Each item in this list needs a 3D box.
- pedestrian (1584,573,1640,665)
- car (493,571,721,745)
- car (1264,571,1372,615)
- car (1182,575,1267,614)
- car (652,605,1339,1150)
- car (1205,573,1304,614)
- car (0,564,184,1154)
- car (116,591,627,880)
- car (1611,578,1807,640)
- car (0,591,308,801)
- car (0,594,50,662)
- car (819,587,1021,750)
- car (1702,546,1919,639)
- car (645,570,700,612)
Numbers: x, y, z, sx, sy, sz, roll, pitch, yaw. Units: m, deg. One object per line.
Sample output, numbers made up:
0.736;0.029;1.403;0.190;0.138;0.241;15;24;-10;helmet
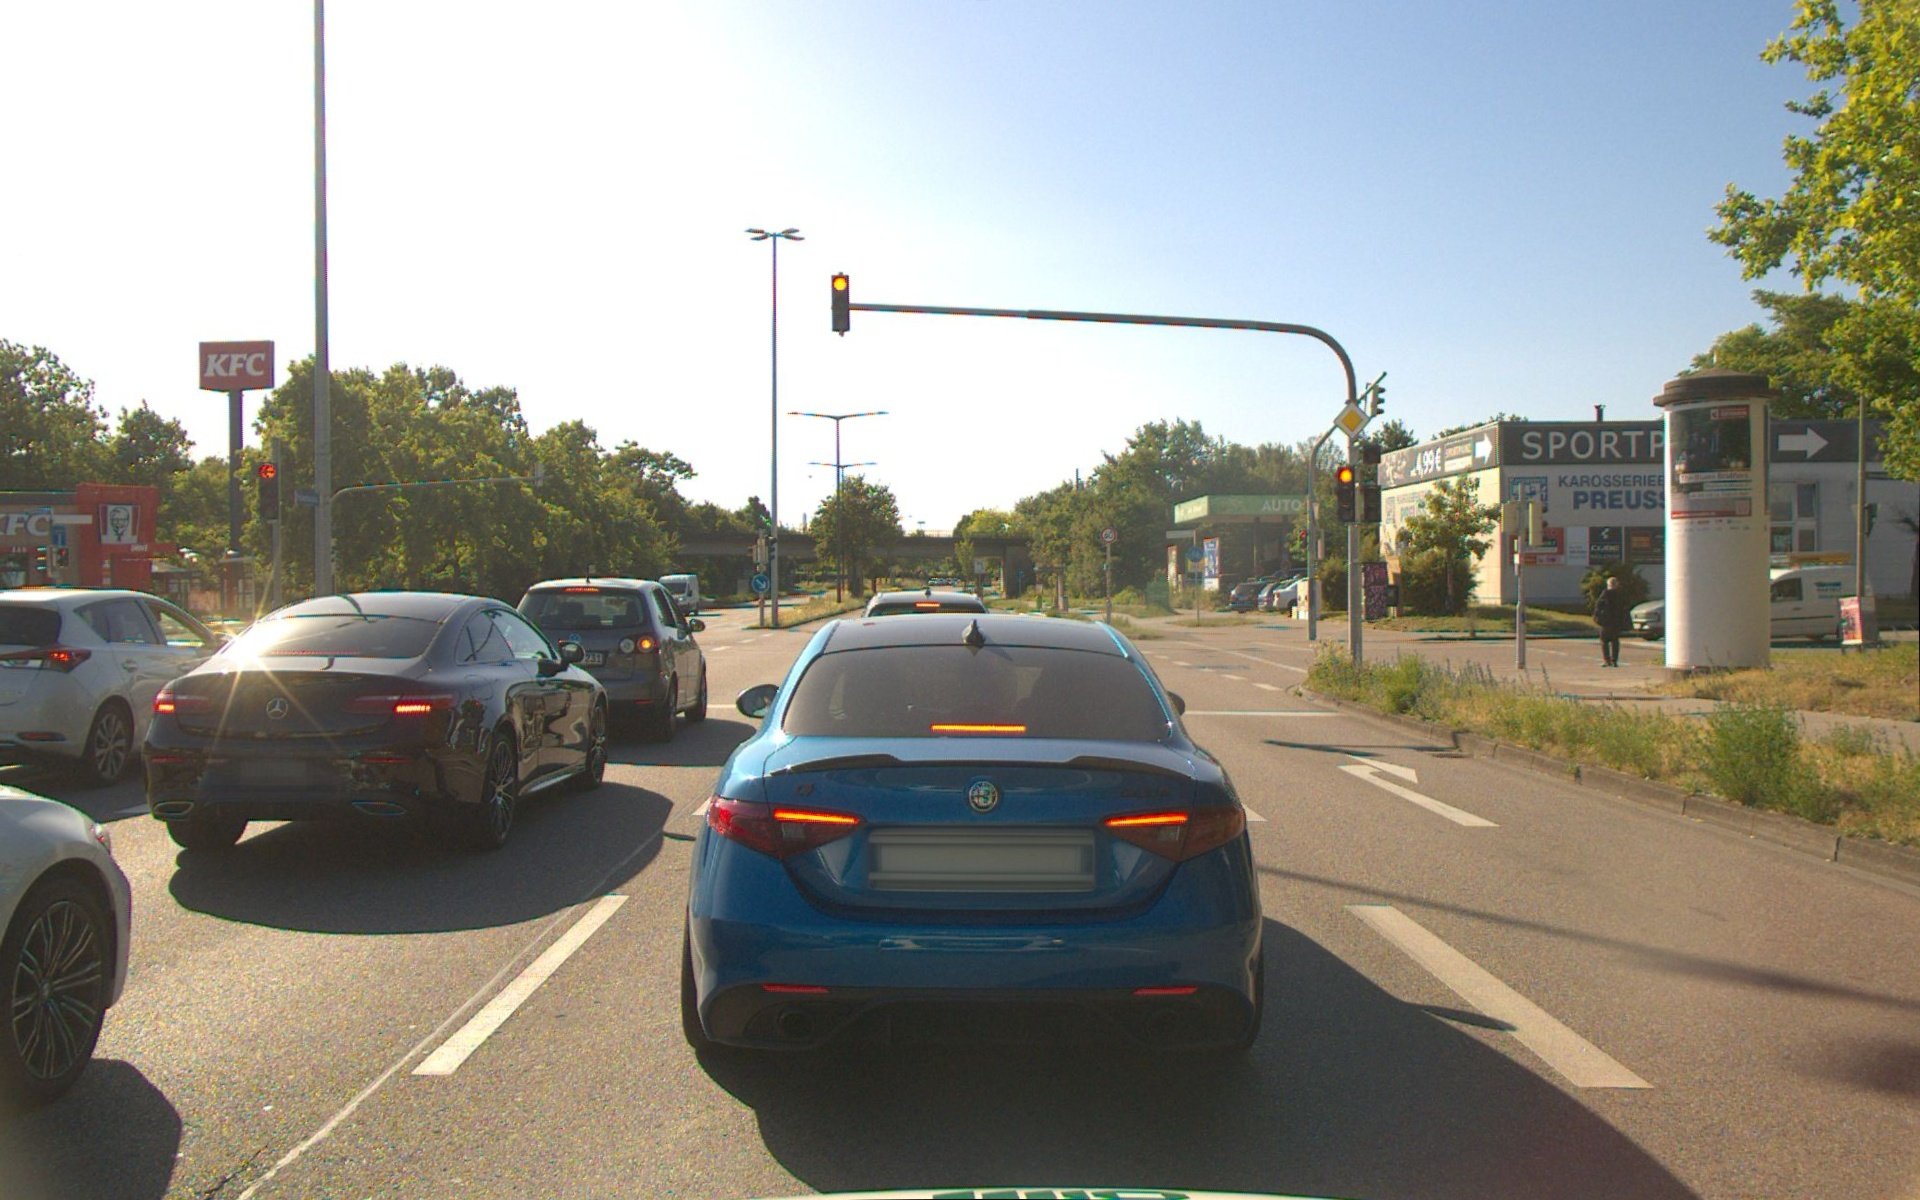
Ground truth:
12.666;0.356;32.146;0.805;1.752;0.854;0;0;6;pedestrian
-3.588;0.526;17.473;1.615;1.626;3.931;0;0;-1;car
14.347;-0.278;66.333;3.923;1.736;1.687;0;0;-17;car
11.880;-0.261;74.342;3.428;1.736;1.688;0;0;-16;car
0.071;0.749;6.382;1.828;1.409;3.931;0;0;-1;car
12.675;-0.267;71.163;3.928;1.736;1.686;0;0;-20;car
-3.350;0.685;3.107;1.732;1.535;4.460;0;0;-1;car
-3.415;0.672;10.581;1.732;1.439;4.460;0;0;-1;car
19.760;0.226;43.738;4.318;1.580;1.998;0;0;-4;car
-7.145;0.655;13.675;1.819;1.454;4.403;0;0;-1;car
-24.995;0.677;40.887;3.957;1.622;1.823;0;0;-4;car
-0.393;0.611;17.066;1.828;1.475;3.931;0;0;-1;car
20.603;-0.188;40.169;4.318;2.183;1.998;0;0;-4;car
-17.303;-0.537;99.964;2.382;2.469;5.830;0;0;-1;car
